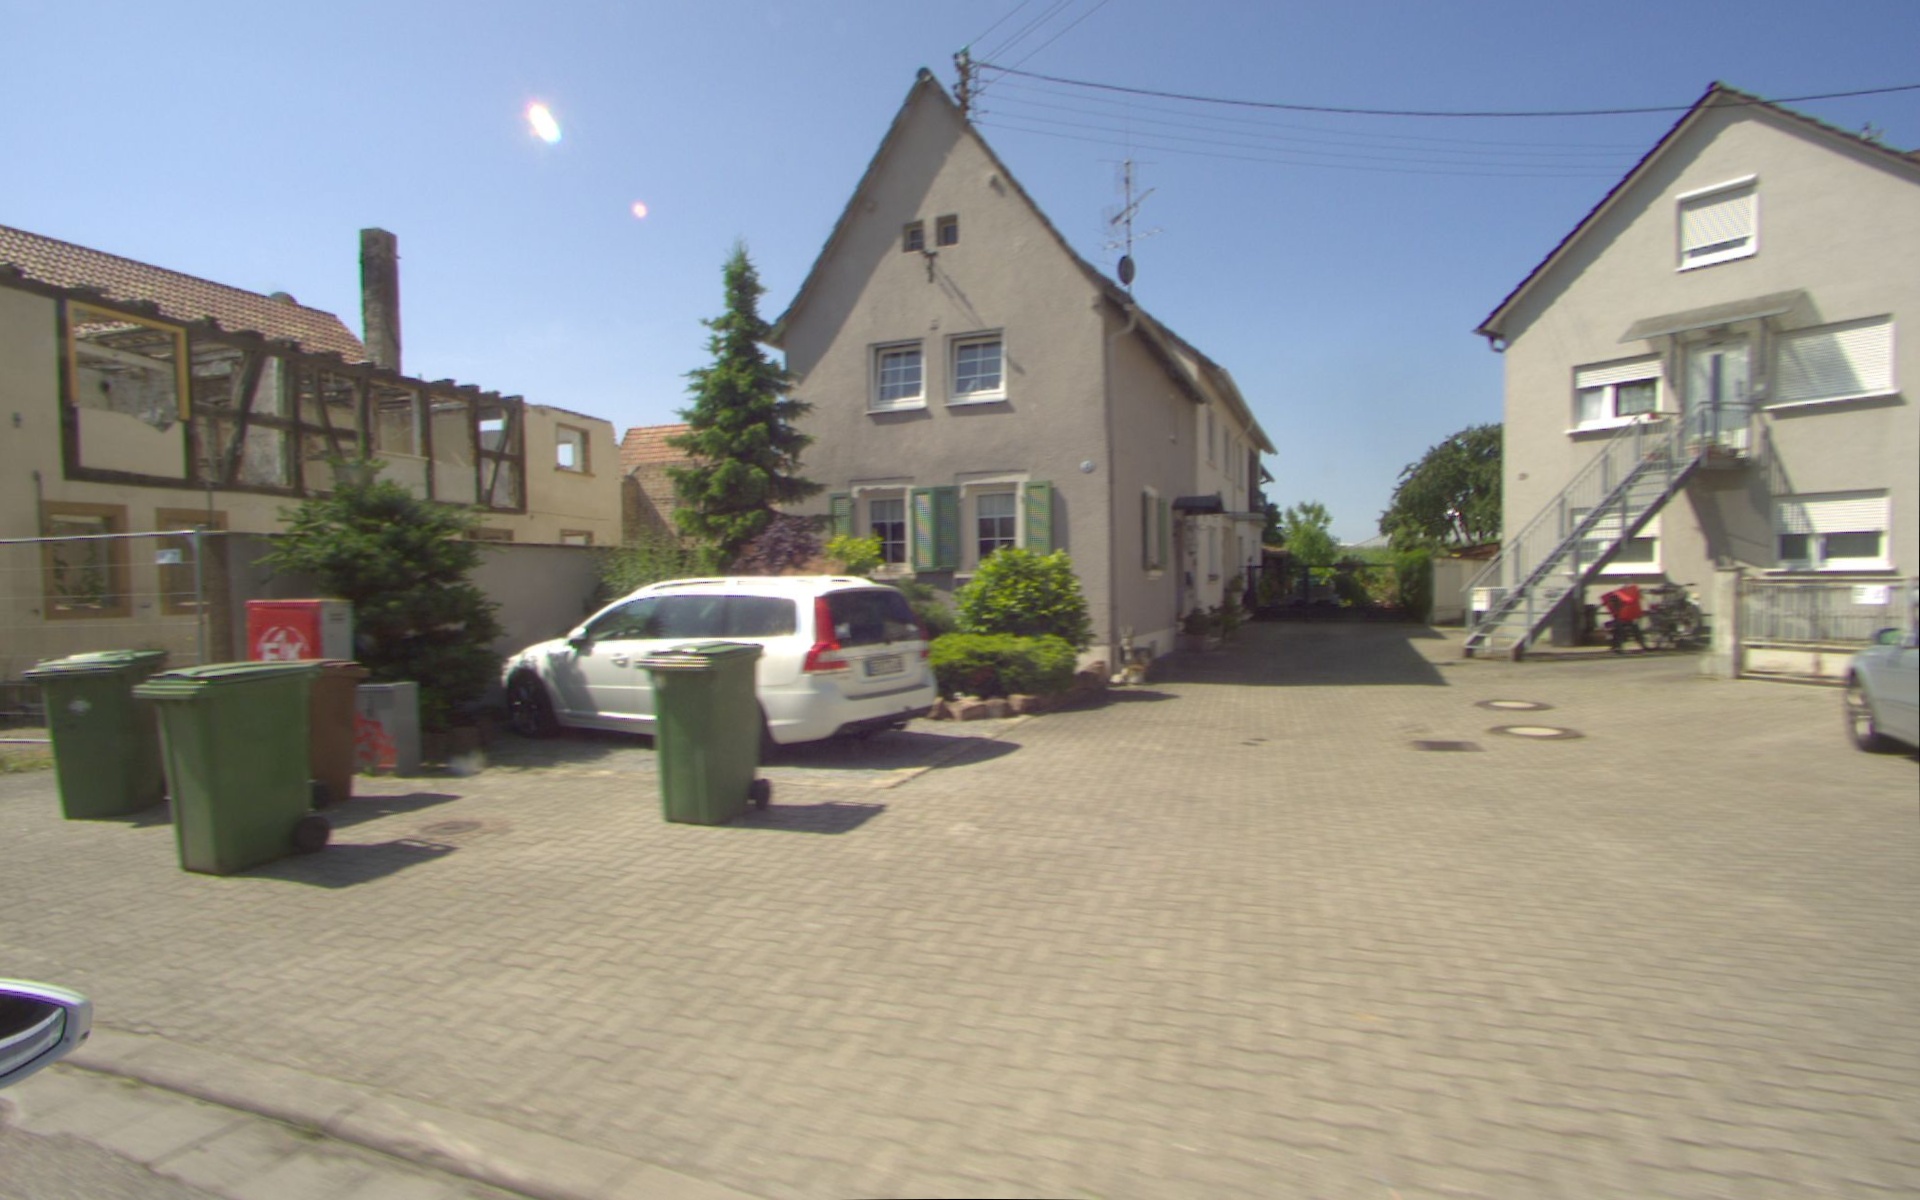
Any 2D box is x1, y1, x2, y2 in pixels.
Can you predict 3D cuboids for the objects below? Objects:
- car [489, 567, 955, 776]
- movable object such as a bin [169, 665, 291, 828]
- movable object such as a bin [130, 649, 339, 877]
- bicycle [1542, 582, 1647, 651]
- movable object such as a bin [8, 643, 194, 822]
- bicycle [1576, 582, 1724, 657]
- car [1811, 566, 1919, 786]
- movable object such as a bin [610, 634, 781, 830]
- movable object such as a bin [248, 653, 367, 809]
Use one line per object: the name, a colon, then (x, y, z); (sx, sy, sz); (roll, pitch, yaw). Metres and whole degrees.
car: (-2.311, 0.491, 9.380); (4.235, 1.549, 1.806); (1, 3, 33)
movable object such as a bin: (-4.712, 0.927, 6.473); (0.455, 0.962, 0.444); (0, 2, 25)
movable object such as a bin: (-4.000, 0.854, 5.550); (0.627, 1.107, 0.686); (0, 3, 25)
bicycle: (11.668, 0.289, 18.416); (1.735, 1.075, 0.528); (-6, 3, -13)
movable object such as a bin: (-5.850, 0.869, 6.873); (0.660, 1.087, 0.760); (-1, 2, -15)
bicycle: (11.641, 0.307, 16.894); (2.470, 1.145, 0.528); (-2, 2, -13)
car: (7.354, 0.507, 6.348); (1.969, 1.471, 4.748); (0, 0, 28)
movable object such as a bin: (-1.652, 0.789, 6.326); (0.742, 1.096, 0.720); (0, 2, 22)
movable object such as a bin: (-4.484, 0.880, 6.893); (0.488, 0.984, 0.464); (0, 3, 24)
